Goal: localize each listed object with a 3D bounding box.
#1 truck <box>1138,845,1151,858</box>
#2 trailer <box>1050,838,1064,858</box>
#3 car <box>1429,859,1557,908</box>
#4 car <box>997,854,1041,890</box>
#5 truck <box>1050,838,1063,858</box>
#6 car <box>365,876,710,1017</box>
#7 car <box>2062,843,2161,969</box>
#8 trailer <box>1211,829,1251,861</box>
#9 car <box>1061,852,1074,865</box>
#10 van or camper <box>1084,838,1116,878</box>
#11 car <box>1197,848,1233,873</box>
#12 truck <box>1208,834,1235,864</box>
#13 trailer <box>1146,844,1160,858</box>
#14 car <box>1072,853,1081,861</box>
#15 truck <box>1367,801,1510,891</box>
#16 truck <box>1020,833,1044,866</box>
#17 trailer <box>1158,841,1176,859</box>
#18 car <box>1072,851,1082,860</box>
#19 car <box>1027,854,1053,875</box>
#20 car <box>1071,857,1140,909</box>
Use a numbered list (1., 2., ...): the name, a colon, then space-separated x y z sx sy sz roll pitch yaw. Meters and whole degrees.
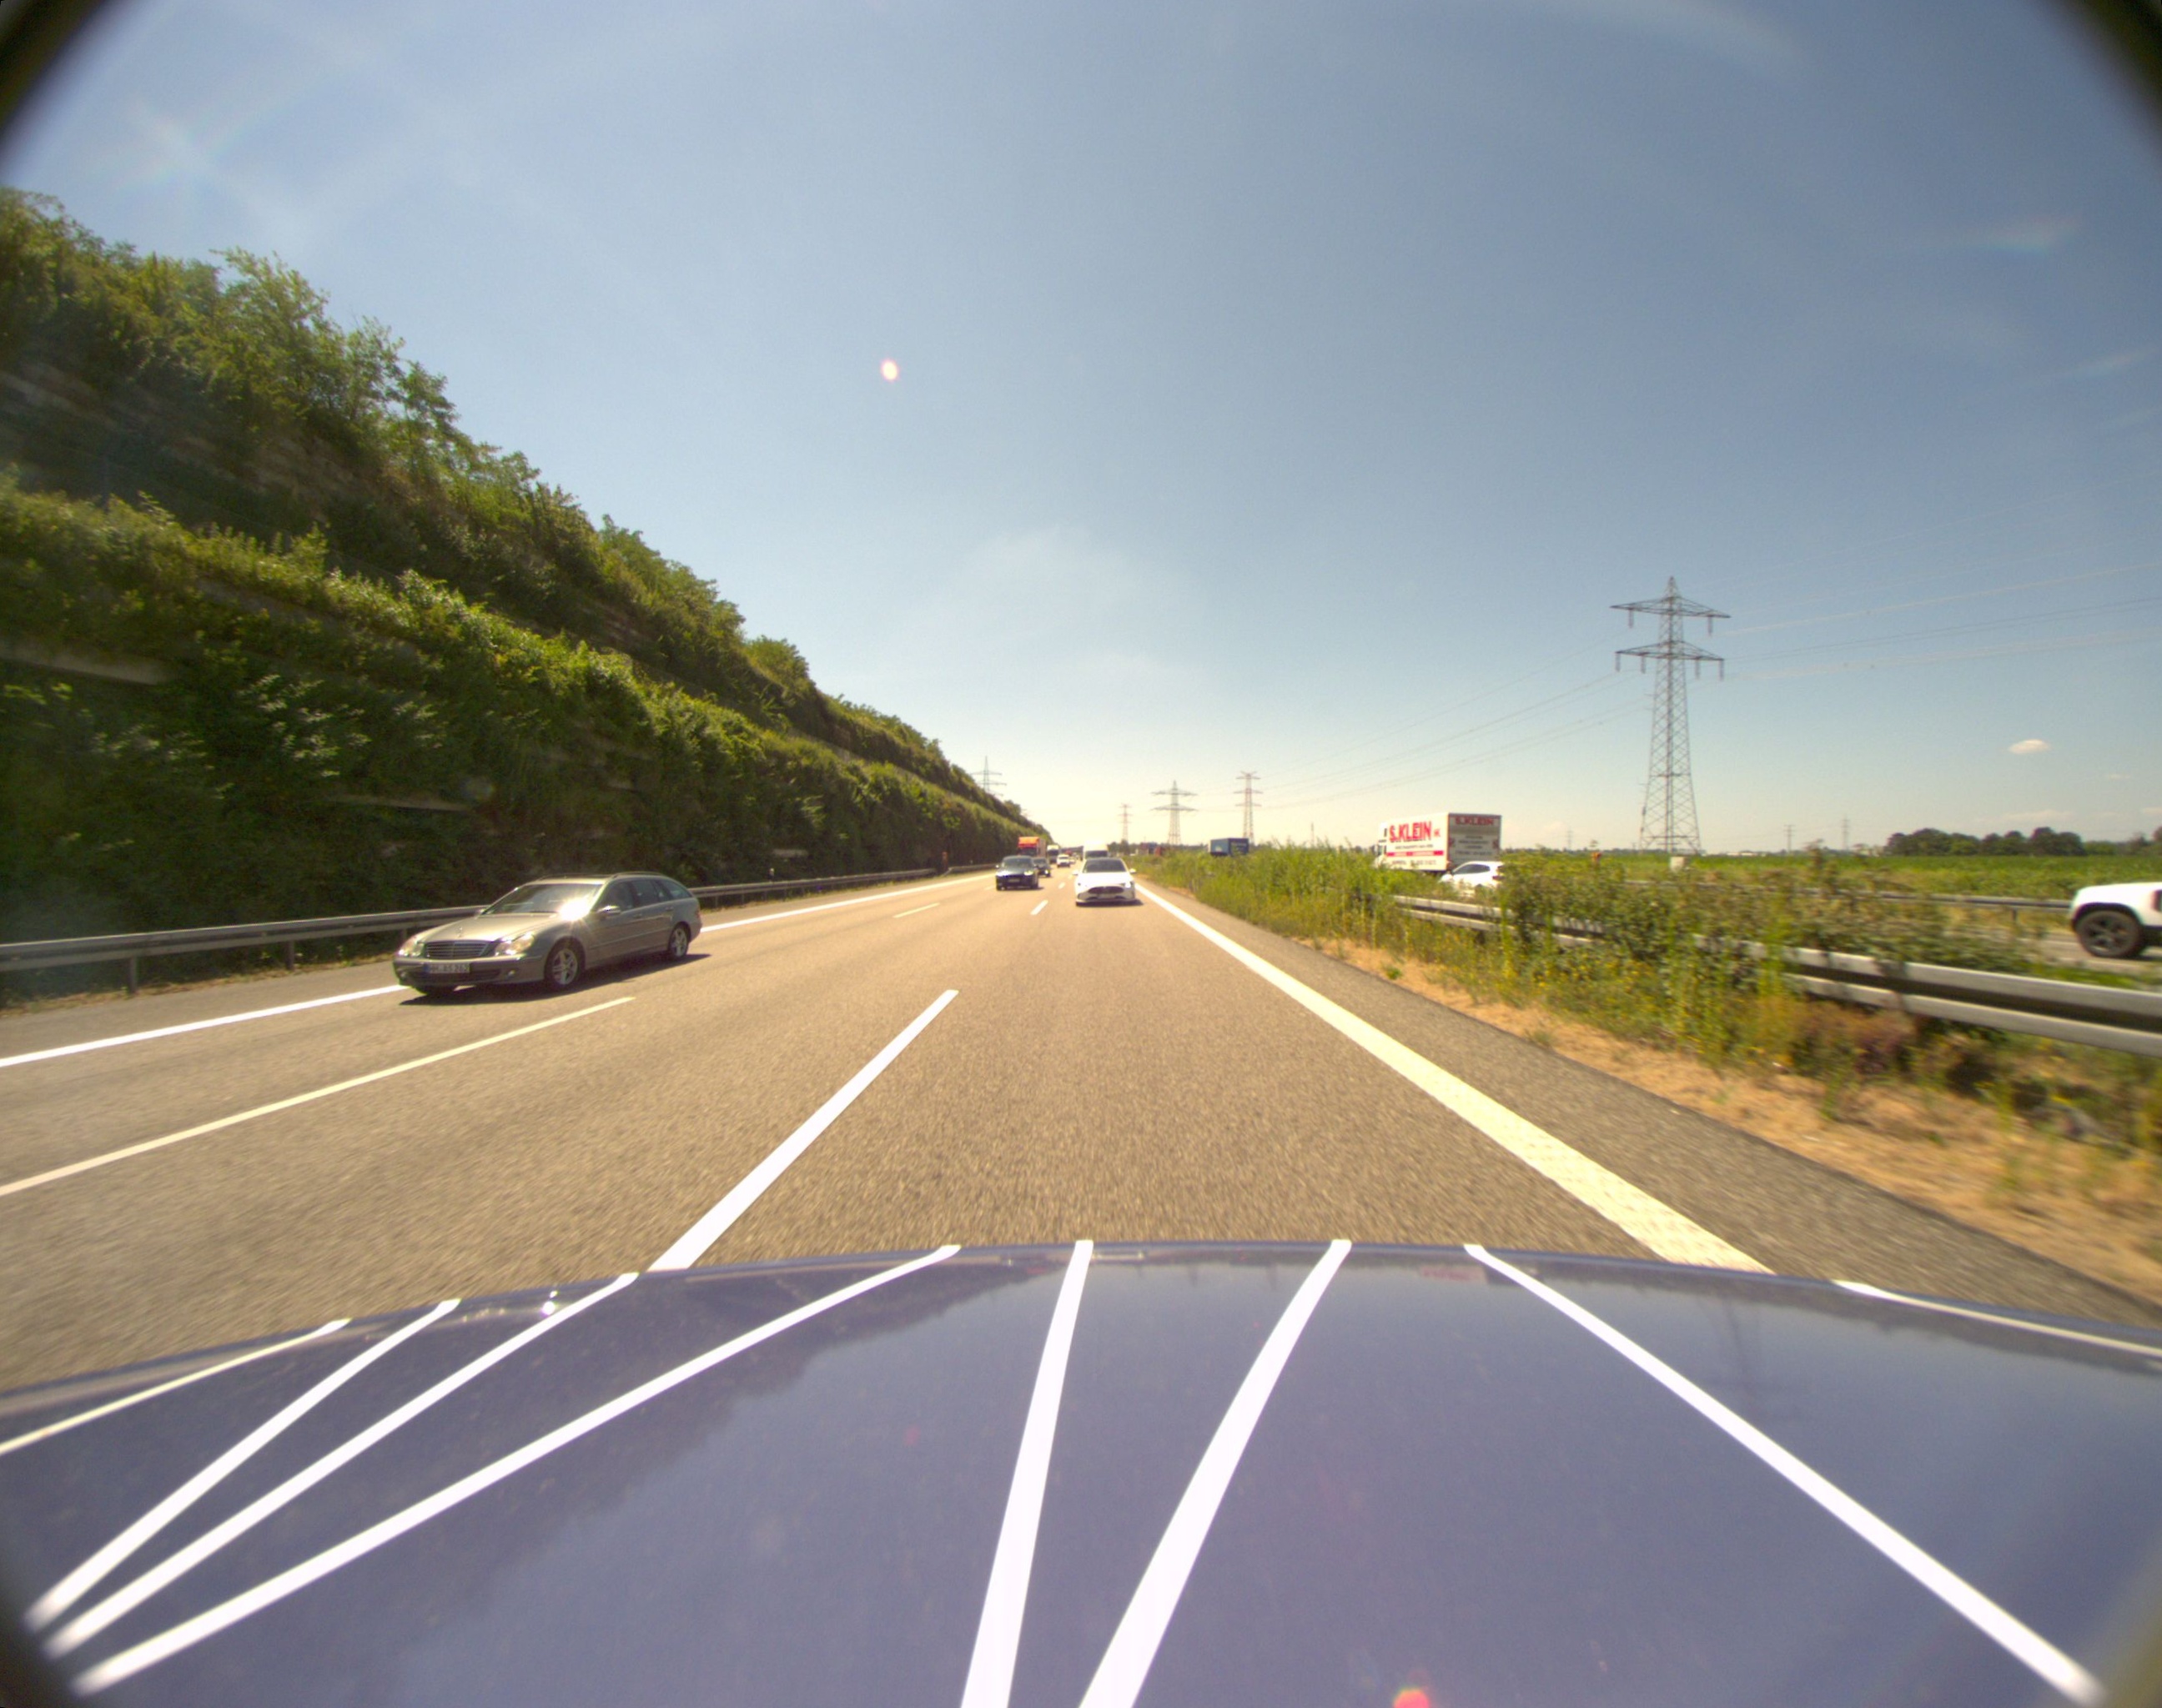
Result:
1. truck: 17.173 -0.624 206.152 2.944 3.393 9.367 0 0 2
2. trailer: -5.213 -1.284 168.464 2.521 4.187 17.026 -1 0 0
3. car: 14.127 0.950 26.411 1.773 1.490 4.780 -1 0 -1
4. car: -3.007 0.824 37.557 1.798 1.643 4.138 -1 0 0
5. truck: -5.139 -1.279 159.977 2.514 4.195 6.255 0 0 0
6. car: -7.245 1.116 10.844 1.689 1.420 4.453 -1 0 0
7. car: 17.736 0.813 10.511 1.903 1.954 4.994 0 0 1
8. trailer: 19.507 -1.088 99.574 2.700 3.914 13.909 0 0 1
9. car: -1.870 0.643 107.056 1.784 1.783 4.000 -2 0 0
10. van or camper: 1.368 0.295 56.446 2.102 2.752 6.756 -1 0 0
11. car: 10.921 0.507 62.145 1.999 2.002 5.117 0 0 0
12. truck: 19.654 -0.715 106.299 2.702 4.045 5.801 0 0 1
13. trailer: 20.703 -0.863 220.438 2.857 3.954 14.142 0 0 0
14. car: -0.832 0.649 147.578 1.780 1.520 4.000 0 0 1
15. truck: 18.622 -0.395 40.646 2.880 4.152 10.568 0 0 1
16. truck: -6.125 -0.499 95.843 2.624 3.969 6.526 -1 0 0
17. trailer: 21.204 -1.064 188.123 3.201 4.281 12.271 0 0 1
18. car: -0.848 0.211 148.320 1.782 1.716 3.750 -2 0 1
19. car: -3.117 0.815 58.767 1.753 1.516 3.995 -1 0 0
20. car: 0.703 0.869 24.434 1.999 1.473 4.108 -1 0 0
